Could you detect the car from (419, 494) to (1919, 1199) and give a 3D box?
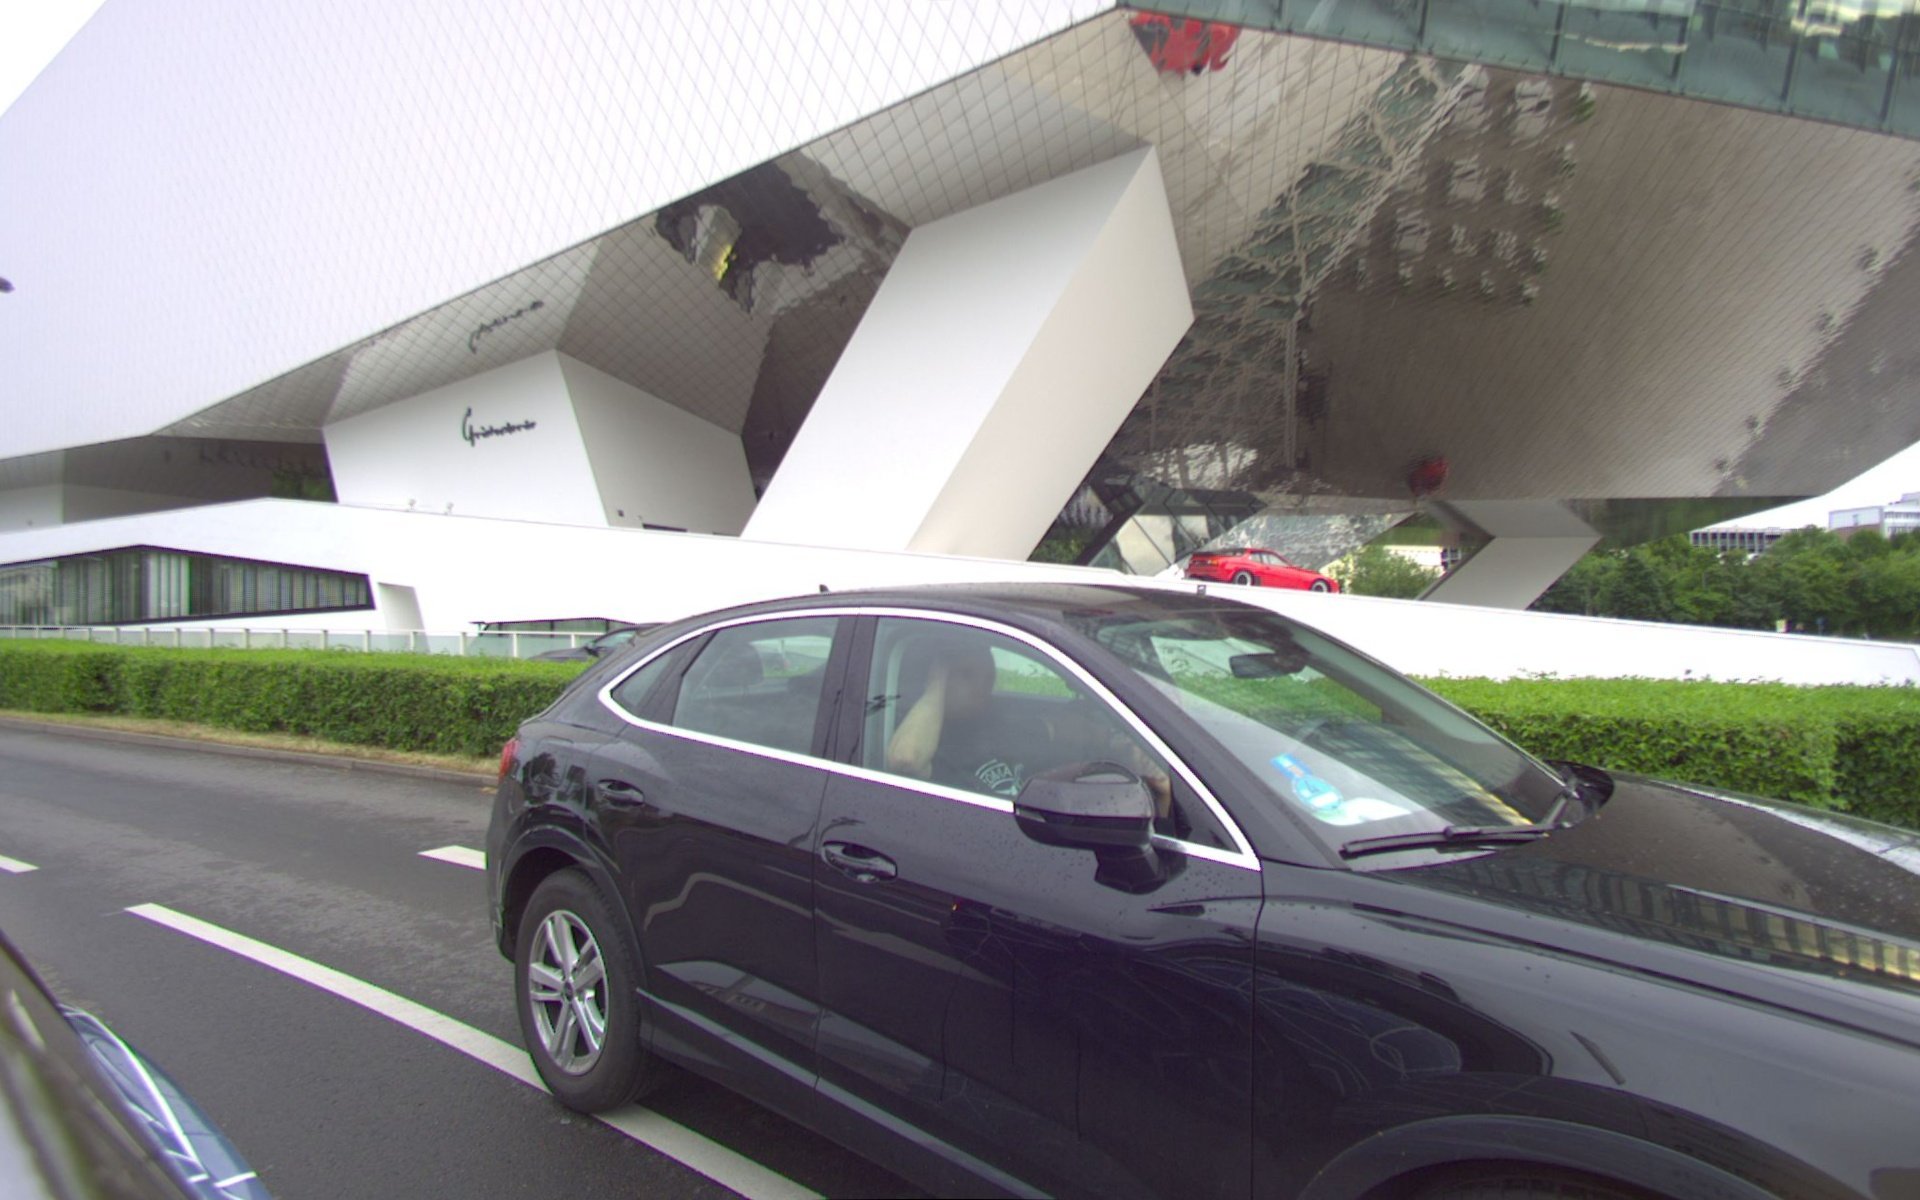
[{"bbox_3d":[0.376,0.674,2.680,4.392,1.529,1.734,-1,0,41],"label":"car"}]

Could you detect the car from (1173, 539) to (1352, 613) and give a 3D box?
[{"bbox_3d":[8.249,-0.609,27.715,4.175,1.395,2.006,7,-4,-16],"label":"car"}]

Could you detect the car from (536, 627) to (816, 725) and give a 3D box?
[{"bbox_3d":[-4.362,1.102,15.565,3.975,1.348,1.711,-1,-2,24],"label":"car"}]
